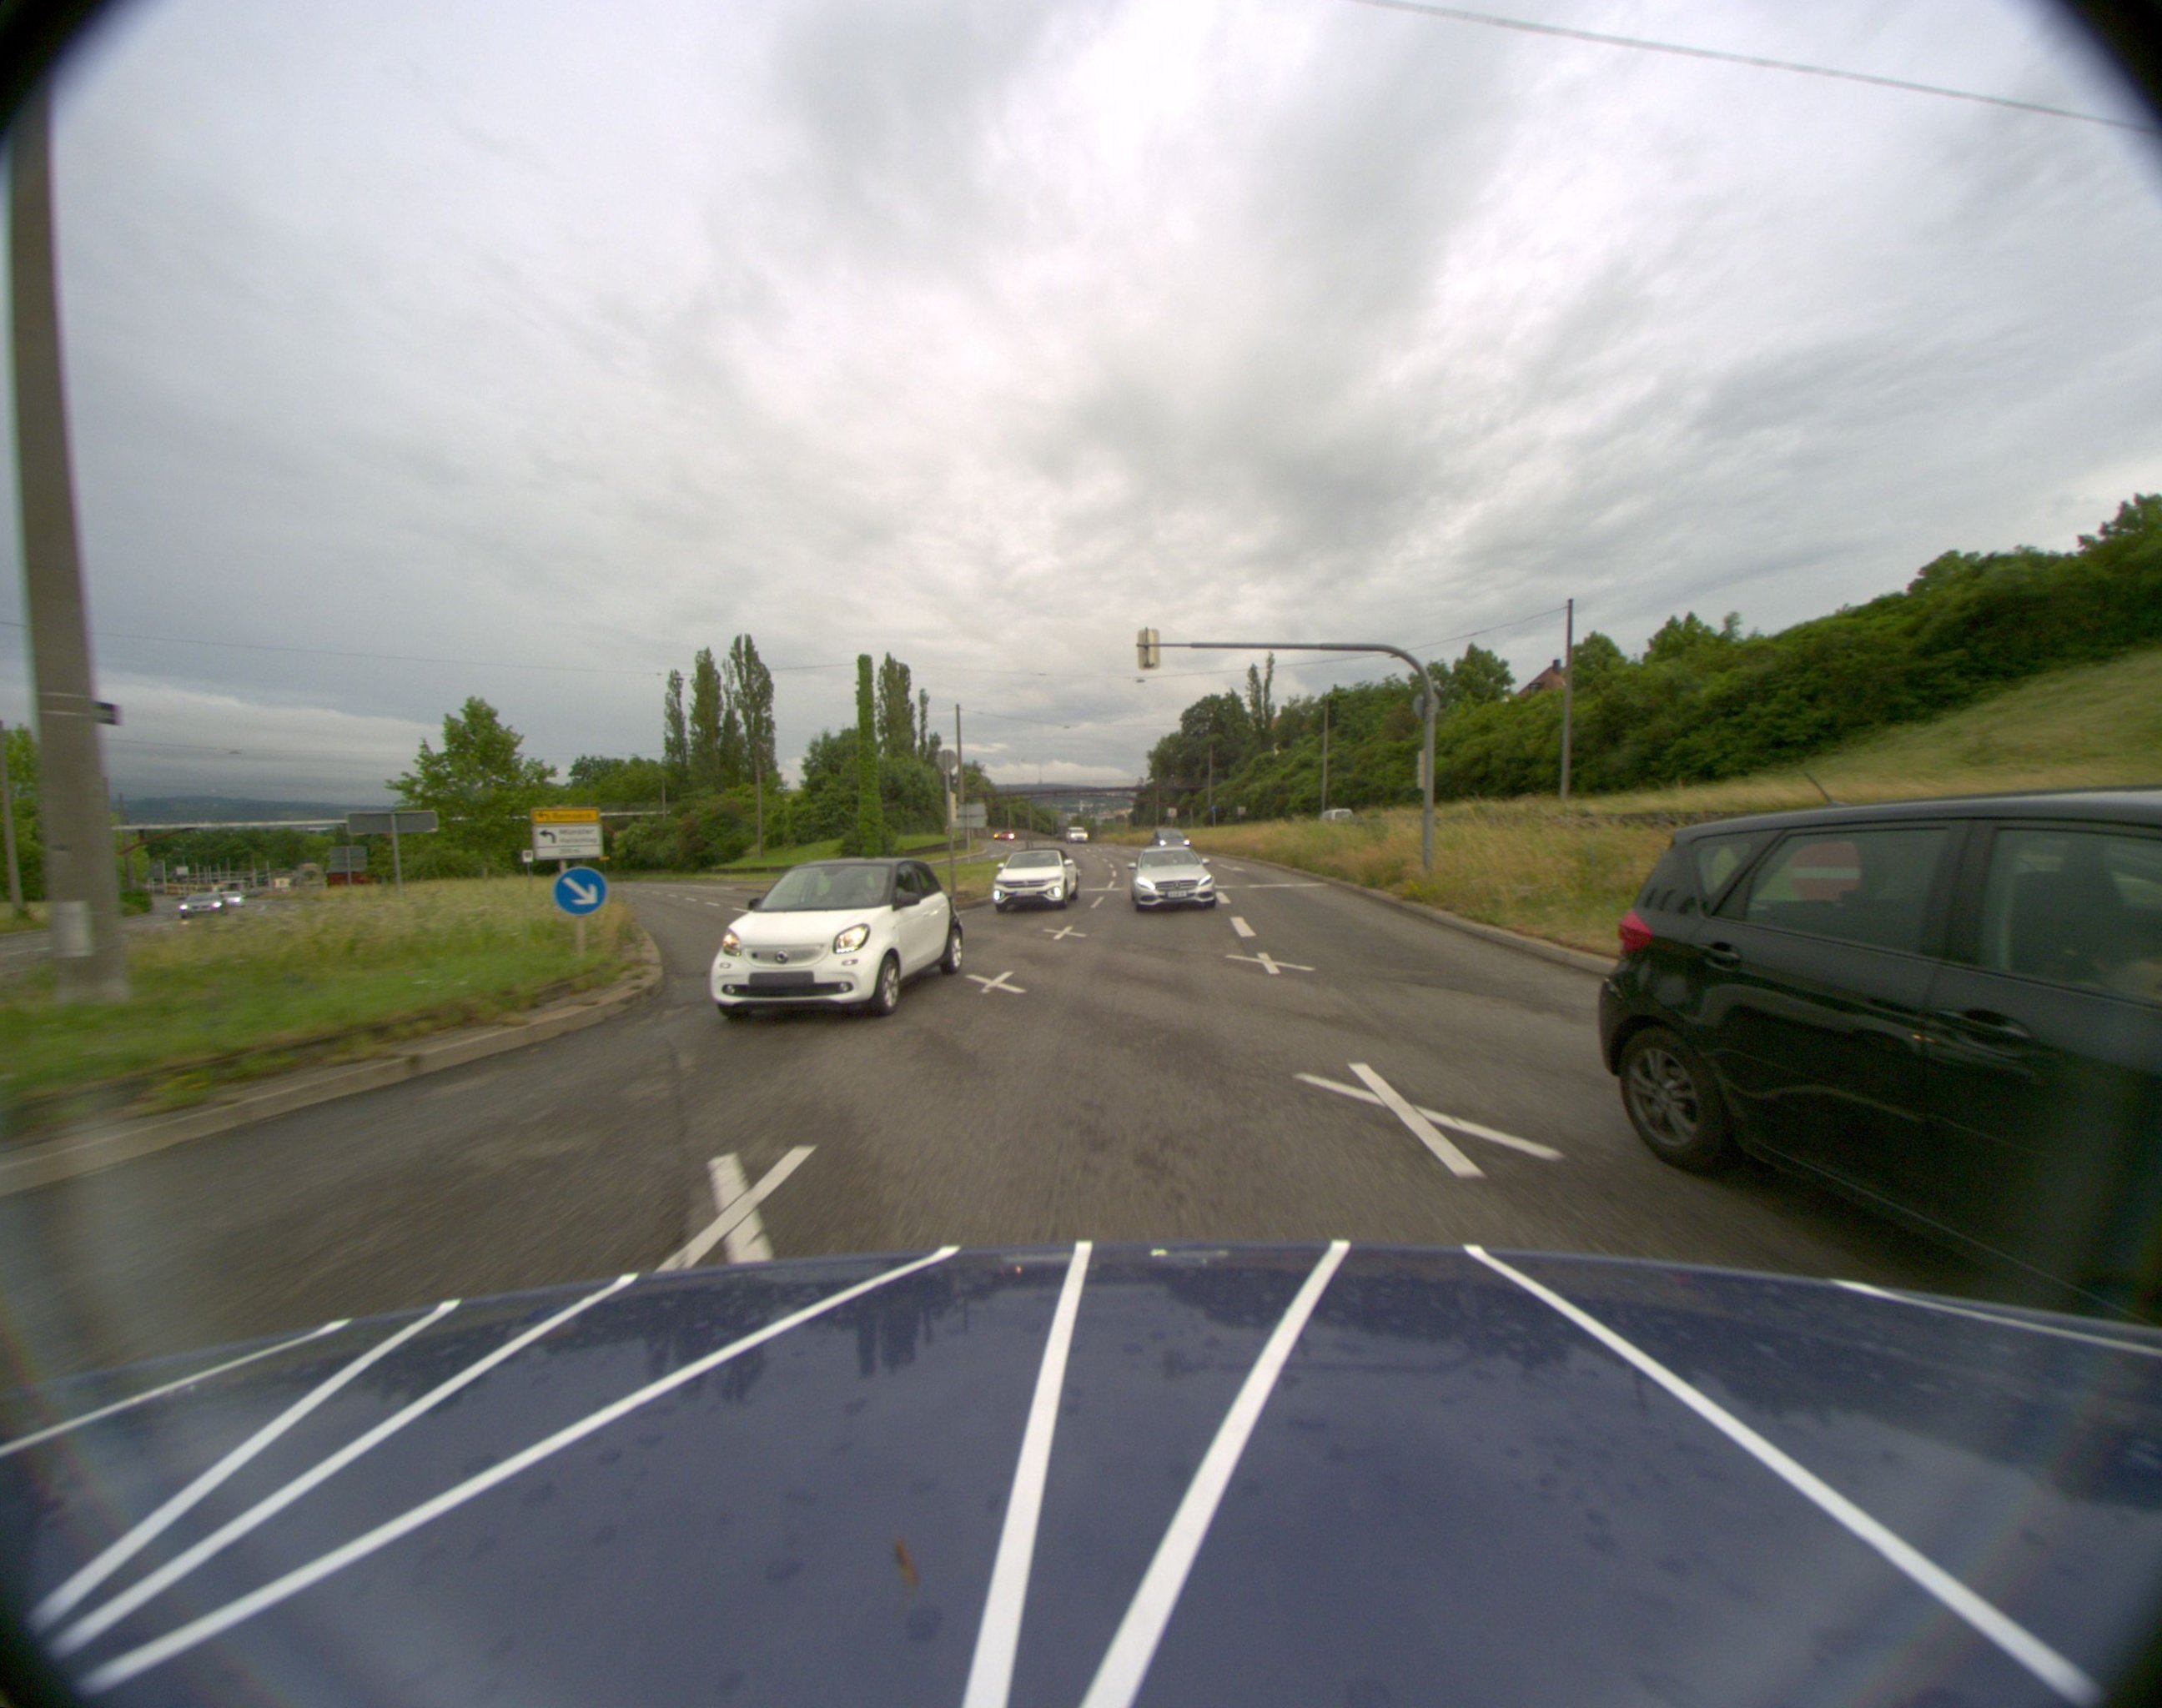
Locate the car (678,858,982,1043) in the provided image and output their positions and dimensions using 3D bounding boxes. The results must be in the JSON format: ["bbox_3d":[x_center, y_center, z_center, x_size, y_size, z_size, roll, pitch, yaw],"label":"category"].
[{"bbox_3d":[-2.508,0.874,8.821,1.725,1.513,4.228,-2,1,5],"label":"car"}]

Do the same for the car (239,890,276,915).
[{"bbox_3d":[-72.500,4.203,66.949,1.841,1.937,3.989,-5,3,-44],"label":"car"}]

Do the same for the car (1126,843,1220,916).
[{"bbox_3d":[2.139,0.530,18.819,1.998,1.400,4.523,-2,2,3],"label":"car"}]

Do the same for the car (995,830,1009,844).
[{"bbox_3d":[-12.762,-2.714,122.508,2.000,2.002,3.996,-3,1,-8],"label":"car"}]

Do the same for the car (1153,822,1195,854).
[{"bbox_3d":[5.472,-0.926,45.173,1.927,1.725,4.024,-3,1,1],"label":"car"}]

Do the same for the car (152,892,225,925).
[{"bbox_3d":[-48.635,2.925,41.486,1.875,1.477,3.989,-3,1,-40],"label":"car"}]

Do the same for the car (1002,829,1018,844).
[{"bbox_3d":[-10.230,-2.509,109.235,2.000,2.002,3.996,-3,1,-9],"label":"car"}]

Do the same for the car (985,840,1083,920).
[{"bbox_3d":[-1.132,0.600,20.149,1.842,1.533,3.816,-3,6,7],"label":"car"}]

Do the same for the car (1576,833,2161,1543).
[{"bbox_3d":[3.322,0.747,1.761,1.800,1.556,4.043,-3,0,3],"label":"car"}]

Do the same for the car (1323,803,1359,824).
[{"bbox_3d":[19.209,-3.001,56.236,1.560,1.424,3.228,-4,2,1],"label":"car"}]

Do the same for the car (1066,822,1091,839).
[{"bbox_3d":[-0.298,-2.580,84.659,2.000,1.683,4.284,-3,1,-10],"label":"car"}]
